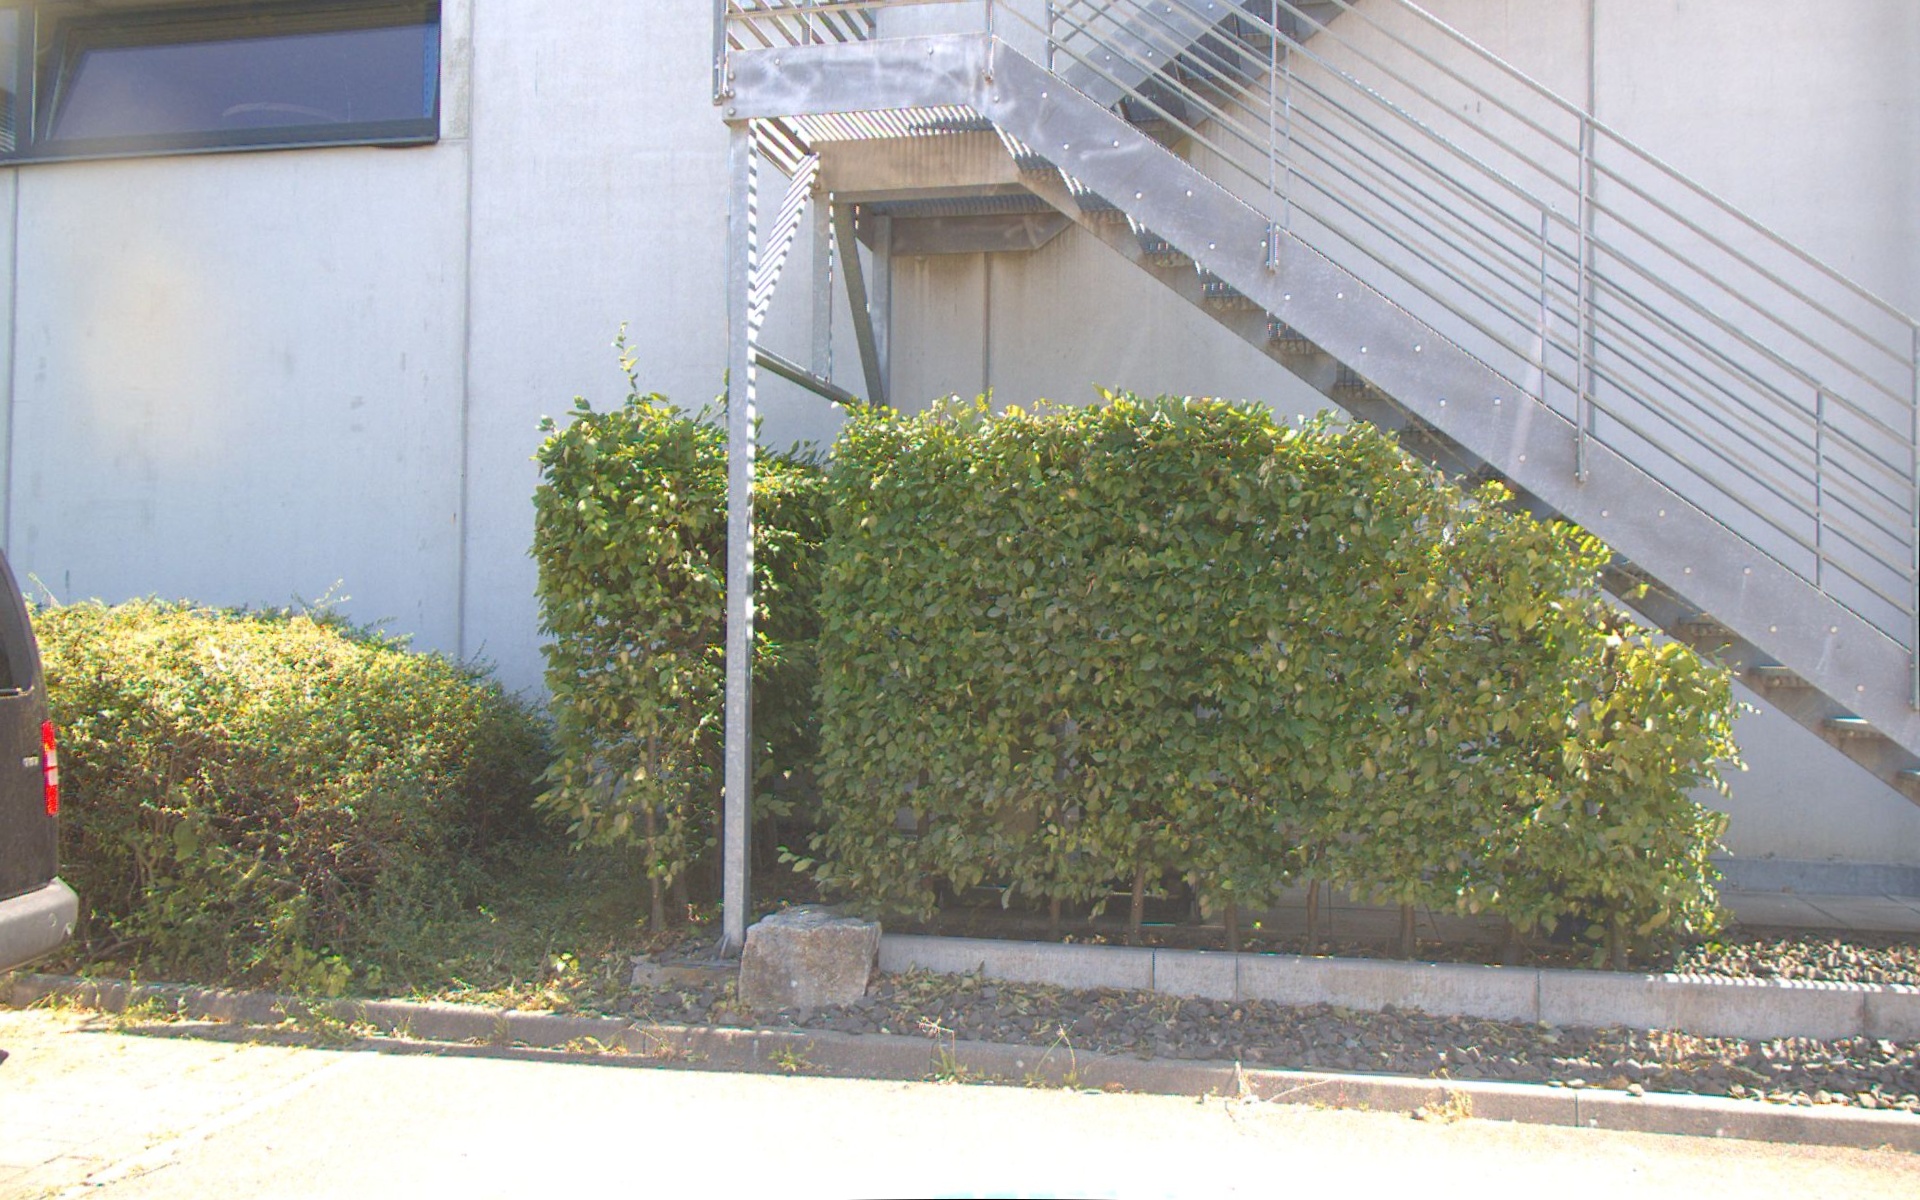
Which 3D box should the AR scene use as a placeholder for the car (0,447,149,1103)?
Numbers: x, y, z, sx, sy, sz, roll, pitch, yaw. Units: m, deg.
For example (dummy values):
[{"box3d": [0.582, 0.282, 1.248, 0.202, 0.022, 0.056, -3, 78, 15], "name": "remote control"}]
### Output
[{"box3d": [-4.790, 0.498, 5.042, 3.971, 1.917, 1.680, 0, 0, 13], "name": "car"}]
